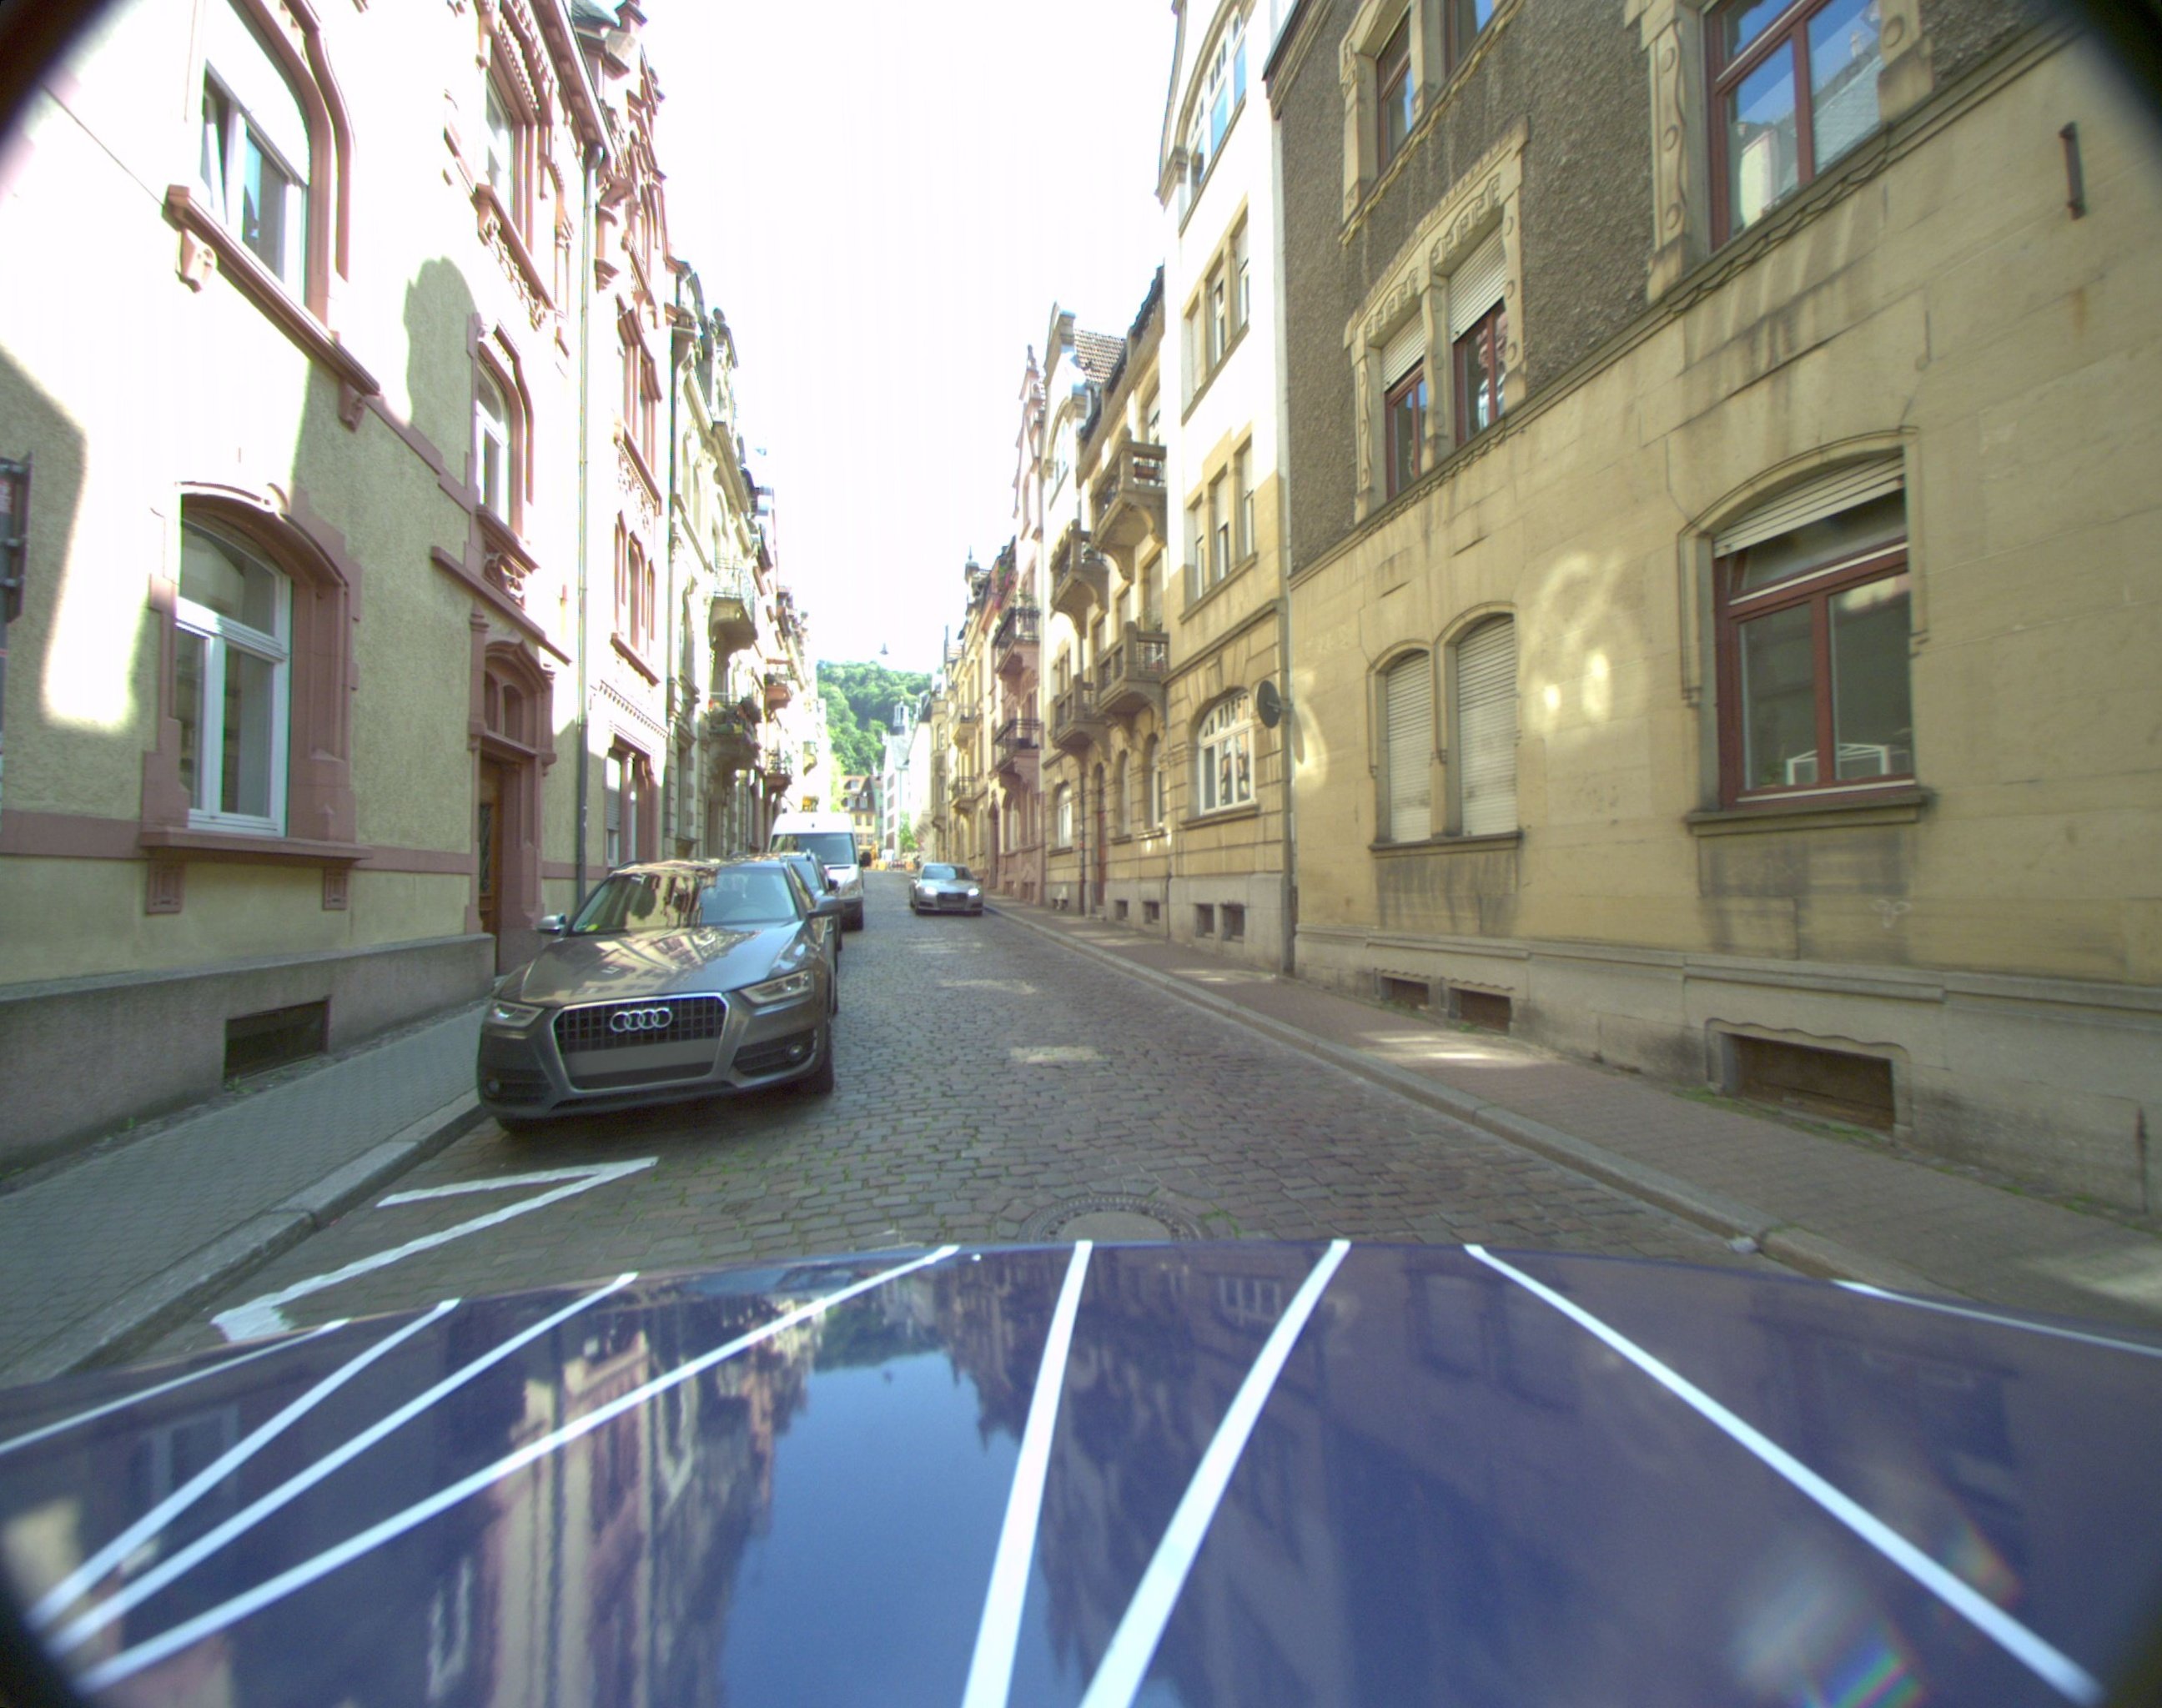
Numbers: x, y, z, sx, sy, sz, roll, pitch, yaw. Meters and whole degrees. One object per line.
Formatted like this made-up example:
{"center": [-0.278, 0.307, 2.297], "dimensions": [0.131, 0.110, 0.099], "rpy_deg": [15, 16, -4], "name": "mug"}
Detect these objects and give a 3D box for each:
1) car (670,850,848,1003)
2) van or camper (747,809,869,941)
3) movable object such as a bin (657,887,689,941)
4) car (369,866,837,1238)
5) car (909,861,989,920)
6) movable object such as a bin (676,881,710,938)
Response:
{"center": [-4.386, 0.843, 10.945], "dimensions": [1.763, 1.696, 3.994], "rpy_deg": [-3, 1, -15], "name": "car"}
{"center": [-6.210, 0.387, 17.953], "dimensions": [2.228, 2.505, 6.757], "rpy_deg": [0, 0, -16], "name": "van or camper"}
{"center": [-7.459, 1.092, 13.902], "dimensions": [0.440, 0.951, 0.349], "rpy_deg": [-1, -1, -15], "name": "movable object such as a bin"}
{"center": [-2.885, 0.928, 5.725], "dimensions": [1.863, 1.574, 4.254], "rpy_deg": [-2, 0, -17], "name": "car"}
{"center": [-3.903, 0.965, 21.896], "dimensions": [1.878, 1.483, 4.377], "rpy_deg": [0, 0, -15], "name": "car"}
{"center": [-7.675, 1.089, 15.045], "dimensions": [0.518, 1.083, 0.421], "rpy_deg": [0, -1, -15], "name": "movable object such as a bin"}
